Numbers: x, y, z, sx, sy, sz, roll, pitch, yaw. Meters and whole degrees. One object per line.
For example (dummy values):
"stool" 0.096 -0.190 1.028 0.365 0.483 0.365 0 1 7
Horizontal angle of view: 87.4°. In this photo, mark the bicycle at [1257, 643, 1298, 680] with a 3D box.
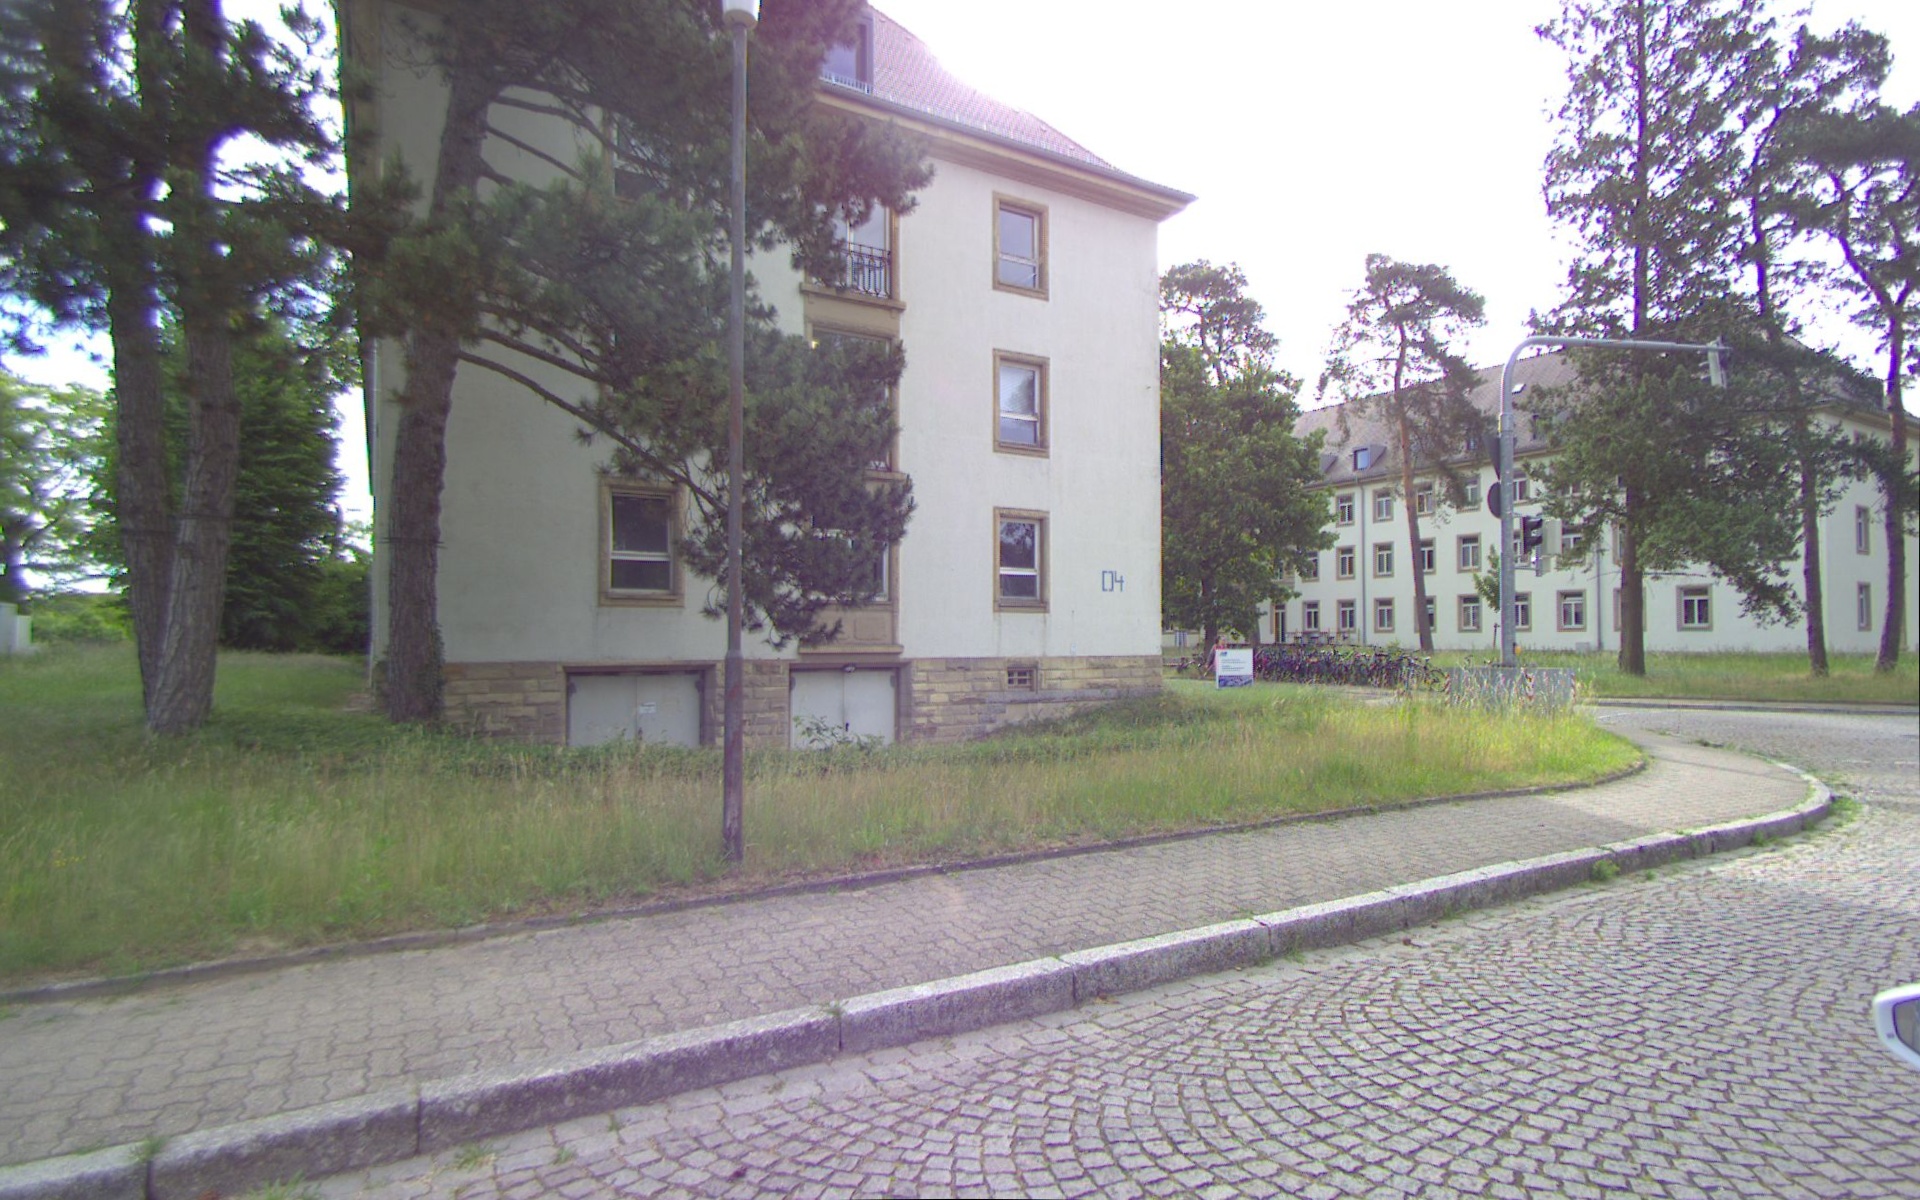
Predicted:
"bicycle" 11.448 2.211 36.229 1.677 1.300 0.446 1 -3 -33

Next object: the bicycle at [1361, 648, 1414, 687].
"bicycle" 13.787 2.158 32.345 1.932 1.193 0.572 1 -3 -32

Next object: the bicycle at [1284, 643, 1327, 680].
"bicycle" 12.108 2.144 35.197 1.677 1.300 0.446 1 -3 -33

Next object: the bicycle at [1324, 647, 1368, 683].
"bicycle" 12.960 2.176 33.690 1.677 1.193 0.446 1 -3 -33

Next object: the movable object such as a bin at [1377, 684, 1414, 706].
"movable object such as a bin" 10.988 2.389 25.333 0.440 0.510 0.746 1 -3 -31

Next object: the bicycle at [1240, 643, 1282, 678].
"bicycle" 11.124 2.225 37.151 1.766 1.300 0.440 1 -3 -33

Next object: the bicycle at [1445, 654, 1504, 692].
"bicycle" 14.536 2.049 28.405 0.447 1.009 1.453 1 -3 -29

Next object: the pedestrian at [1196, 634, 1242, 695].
"pedestrian" 7.399 1.831 28.693 0.930 1.690 0.855 1 -2 -32

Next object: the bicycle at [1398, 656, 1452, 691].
"bicycle" 13.750 2.160 29.708 0.447 1.009 1.453 1 -3 -29

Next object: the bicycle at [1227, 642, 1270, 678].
"bicycle" 10.779 2.230 37.482 1.808 1.300 0.446 1 -3 -33

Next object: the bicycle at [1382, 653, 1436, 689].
"bicycle" 14.210 2.221 31.791 1.974 1.092 0.572 1 -3 -33

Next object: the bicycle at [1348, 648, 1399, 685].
"bicycle" 13.527 2.166 32.870 1.909 1.193 0.524 1 -3 -33

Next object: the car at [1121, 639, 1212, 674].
"car" 9.466 2.559 45.997 3.852 1.576 1.831 1 -3 -31

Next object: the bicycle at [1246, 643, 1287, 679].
"bicycle" 11.194 2.216 36.642 1.677 1.300 0.446 1 -3 -33

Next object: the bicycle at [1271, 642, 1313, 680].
"bicycle" 11.805 2.150 35.670 1.677 1.300 0.446 1 -3 -33

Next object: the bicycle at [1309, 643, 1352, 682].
"bicycle" 12.692 2.134 34.362 1.677 1.300 0.446 1 -3 -33

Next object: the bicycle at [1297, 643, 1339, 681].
"bicycle" 12.403 2.139 34.776 1.677 1.300 0.446 1 -3 -33

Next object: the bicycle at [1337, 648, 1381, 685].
"bicycle" 13.221 2.183 33.282 1.677 1.193 0.446 1 -3 -33
